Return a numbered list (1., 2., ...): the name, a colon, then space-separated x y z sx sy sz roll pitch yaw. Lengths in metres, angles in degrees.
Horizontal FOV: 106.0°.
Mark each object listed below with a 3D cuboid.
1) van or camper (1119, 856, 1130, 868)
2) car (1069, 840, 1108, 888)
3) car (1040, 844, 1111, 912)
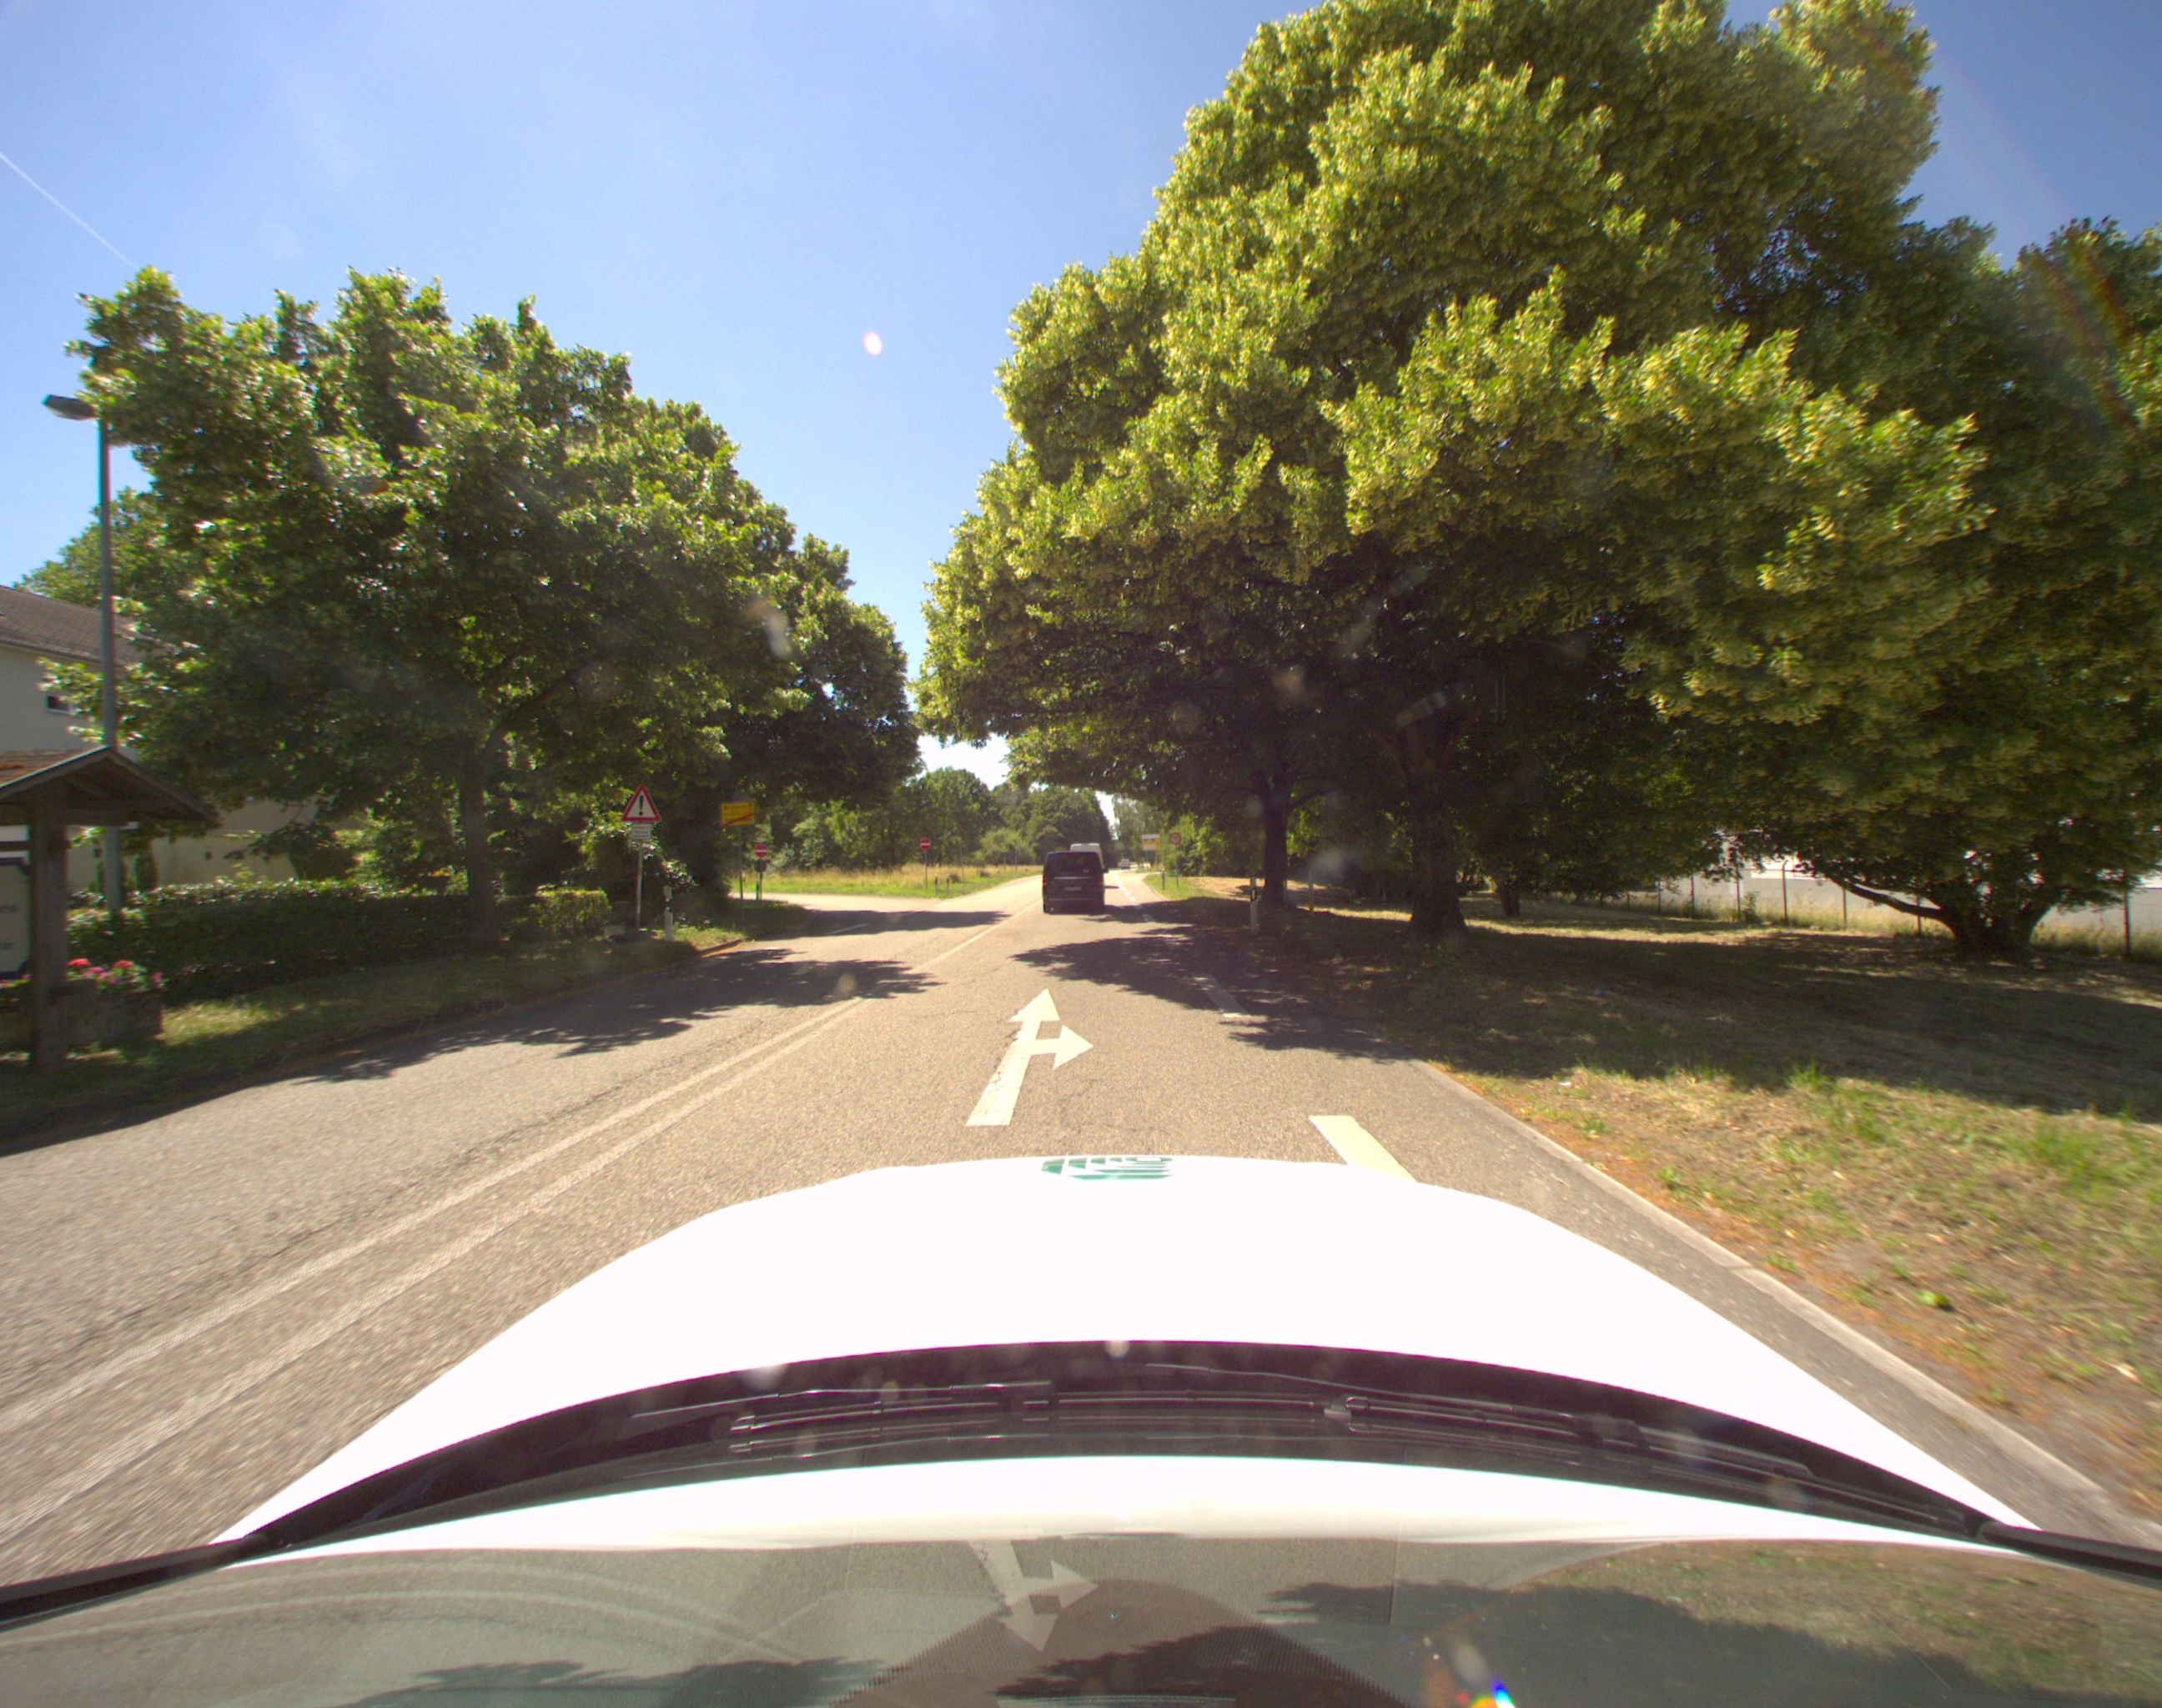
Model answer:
1. van or camper: 10.904 1.935 205.553 2.622 2.929 5.207 0 -1 1
2. car: 0.490 0.591 48.251 2.069 2.703 4.670 0 -1 3
3. car: -0.070 0.719 26.060 1.985 1.953 5.008 0 -1 3
